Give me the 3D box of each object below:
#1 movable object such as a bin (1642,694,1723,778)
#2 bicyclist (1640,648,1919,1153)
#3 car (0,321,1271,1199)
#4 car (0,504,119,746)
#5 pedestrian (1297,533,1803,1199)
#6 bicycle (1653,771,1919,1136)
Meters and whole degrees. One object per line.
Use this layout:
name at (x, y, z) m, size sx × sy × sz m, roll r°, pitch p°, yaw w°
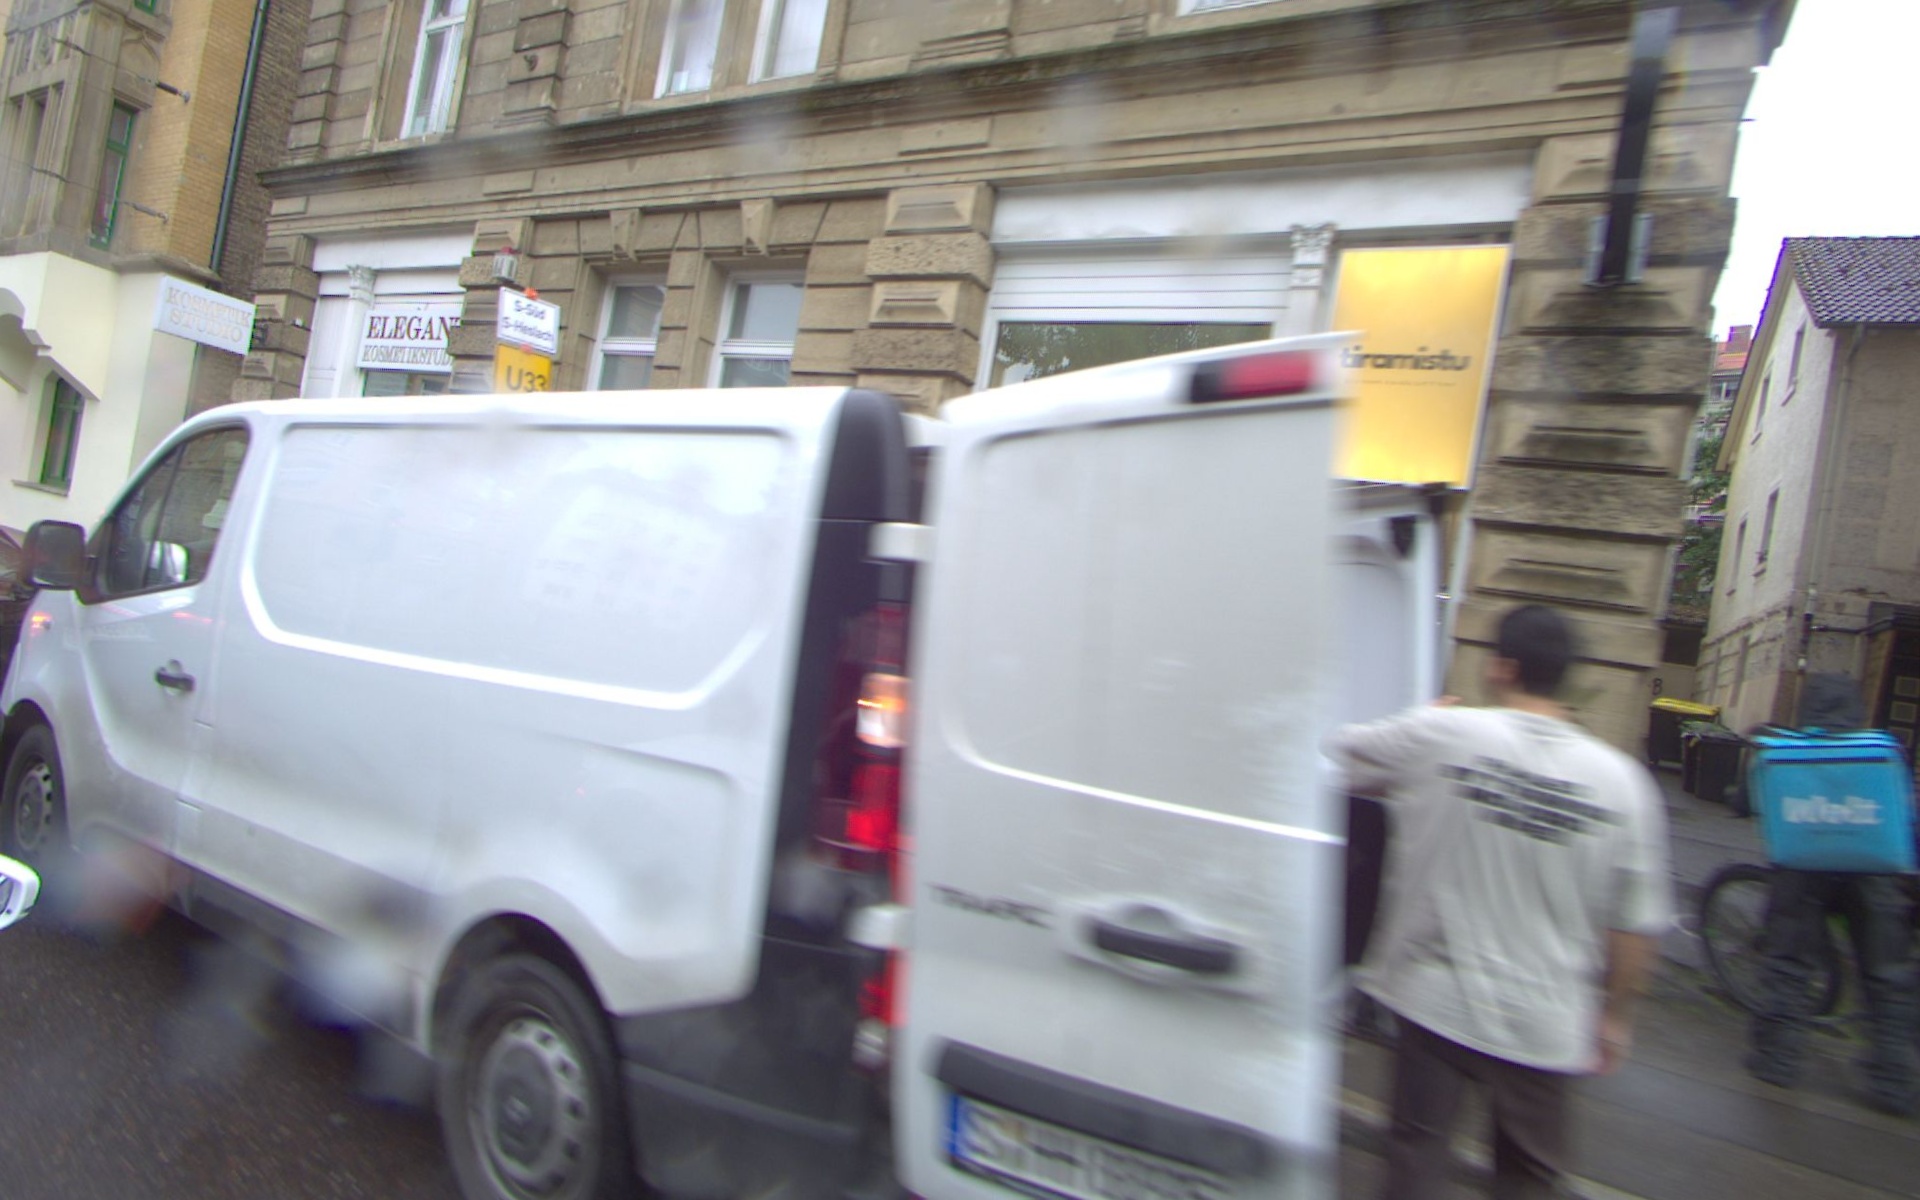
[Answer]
movable object such as a bin at (13.841, 2.599, 19.280) m, size 1.093 × 1.385 × 1.489 m, roll 7°, pitch -2°, yaw 37°
bicyclist at (3.306, 1.063, 3.879) m, size 0.620 × 1.677 × 0.850 m, roll 7°, pitch 0°, yaw 3°
car at (-1.534, 0.381, 3.698) m, size 4.607 × 1.958 × 1.925 m, roll 7°, pitch -2°, yaw 32°
car at (-6.504, 0.020, 5.689) m, size 1.882 × 1.406 × 3.969 m, roll 9°, pitch -2°, yaw -30°
pedestrian at (1.223, 0.817, 2.251) m, size 0.675 × 1.774 × 0.835 m, roll 7°, pitch 0°, yaw 27°
bicycle at (3.749, 1.416, 4.148) m, size 0.456 × 1.128 × 1.689 m, roll 7°, pitch -1°, yaw -1°
